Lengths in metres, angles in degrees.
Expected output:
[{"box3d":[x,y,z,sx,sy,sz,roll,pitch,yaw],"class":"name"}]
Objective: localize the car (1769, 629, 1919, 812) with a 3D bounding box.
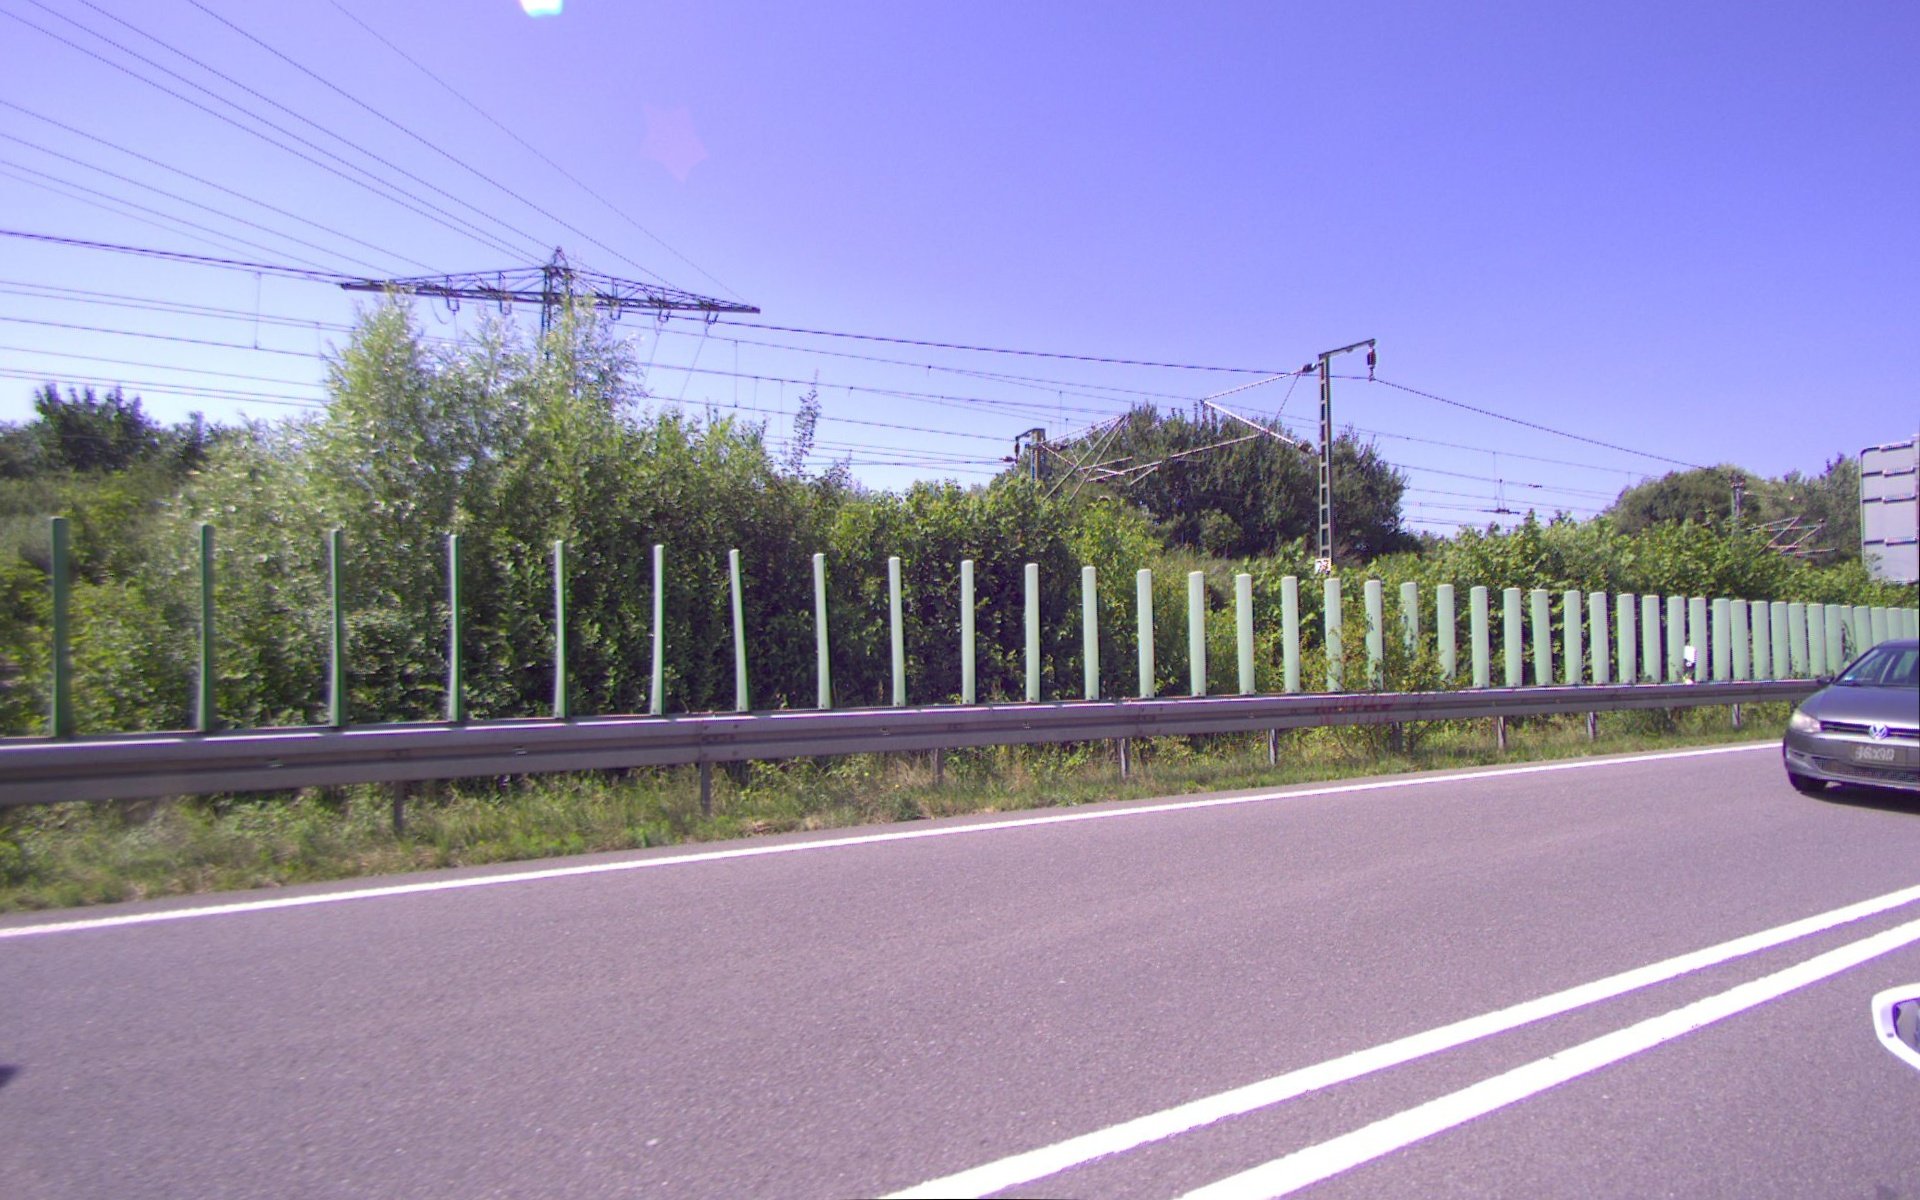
[{"box3d":[9.237,1.018,9.235,3.750,1.460,1.606,1,-1,-31],"class":"car"}]
